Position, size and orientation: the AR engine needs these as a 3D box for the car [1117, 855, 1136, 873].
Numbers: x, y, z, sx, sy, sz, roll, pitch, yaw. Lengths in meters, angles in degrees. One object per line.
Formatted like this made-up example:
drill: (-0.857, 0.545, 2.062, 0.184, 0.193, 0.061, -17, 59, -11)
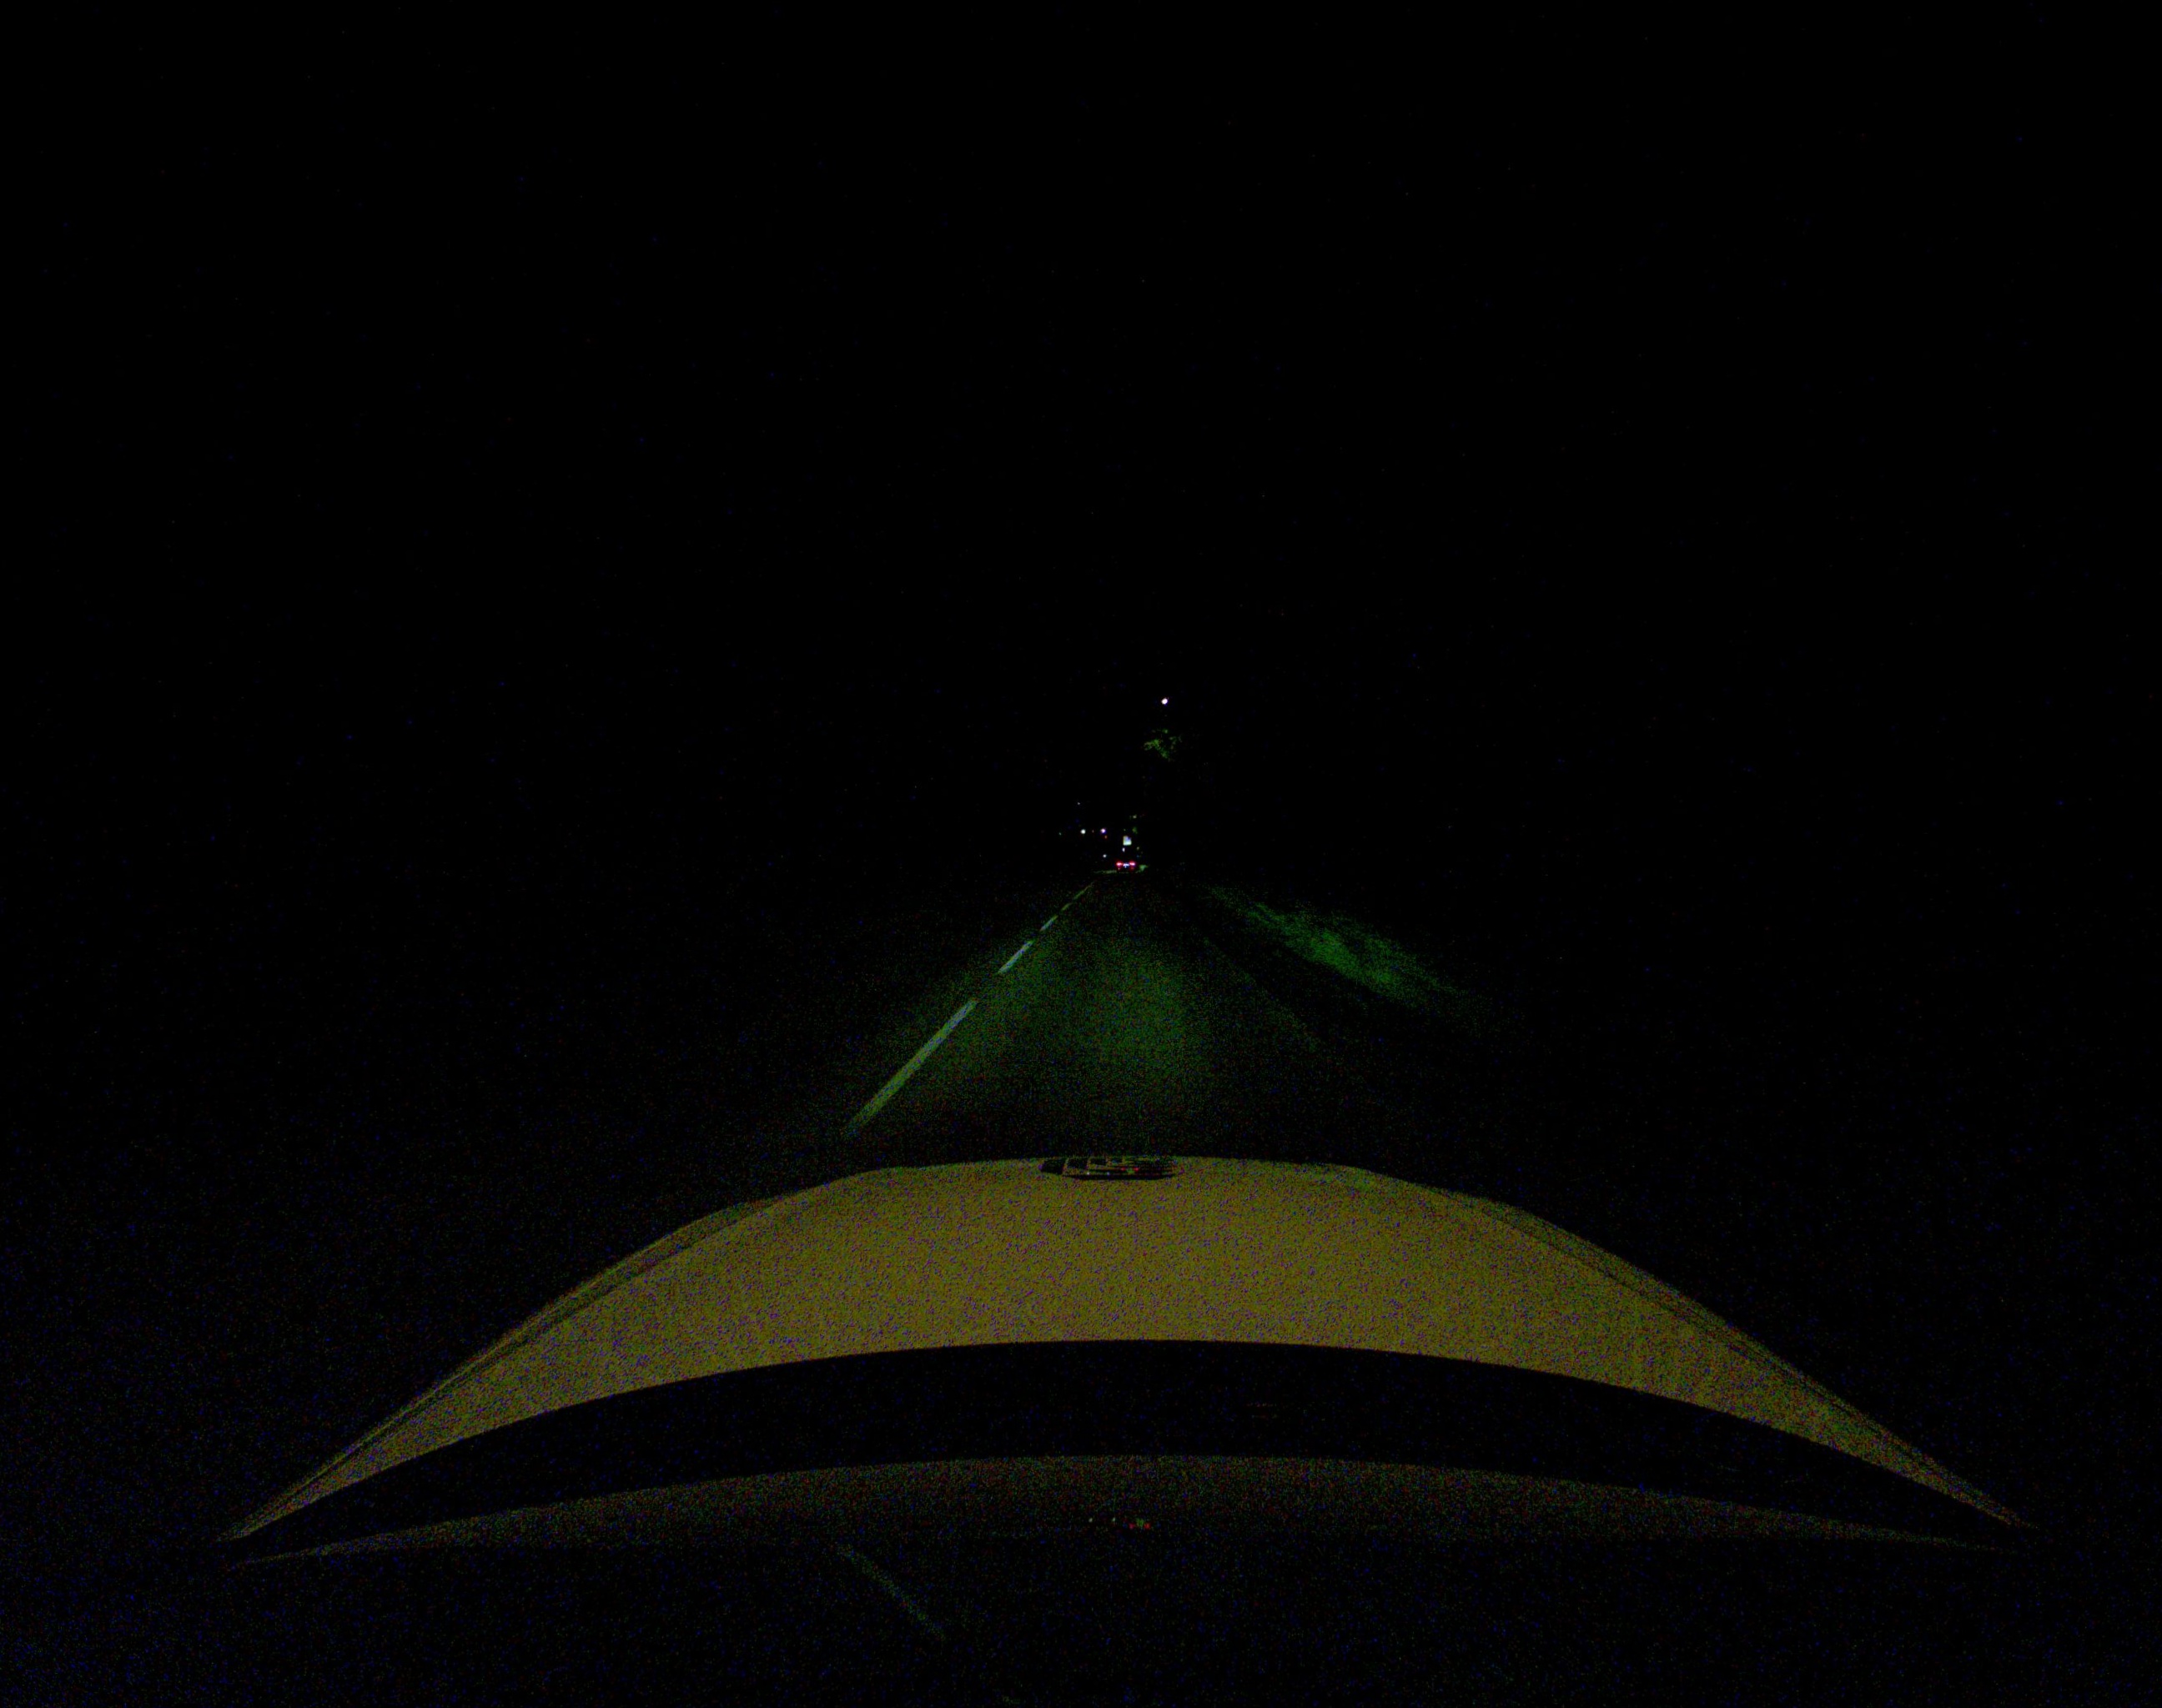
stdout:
car: (4.444, 0.940, 79.993, 1.755, 1.641, 3.727, -1, 0, 4)
